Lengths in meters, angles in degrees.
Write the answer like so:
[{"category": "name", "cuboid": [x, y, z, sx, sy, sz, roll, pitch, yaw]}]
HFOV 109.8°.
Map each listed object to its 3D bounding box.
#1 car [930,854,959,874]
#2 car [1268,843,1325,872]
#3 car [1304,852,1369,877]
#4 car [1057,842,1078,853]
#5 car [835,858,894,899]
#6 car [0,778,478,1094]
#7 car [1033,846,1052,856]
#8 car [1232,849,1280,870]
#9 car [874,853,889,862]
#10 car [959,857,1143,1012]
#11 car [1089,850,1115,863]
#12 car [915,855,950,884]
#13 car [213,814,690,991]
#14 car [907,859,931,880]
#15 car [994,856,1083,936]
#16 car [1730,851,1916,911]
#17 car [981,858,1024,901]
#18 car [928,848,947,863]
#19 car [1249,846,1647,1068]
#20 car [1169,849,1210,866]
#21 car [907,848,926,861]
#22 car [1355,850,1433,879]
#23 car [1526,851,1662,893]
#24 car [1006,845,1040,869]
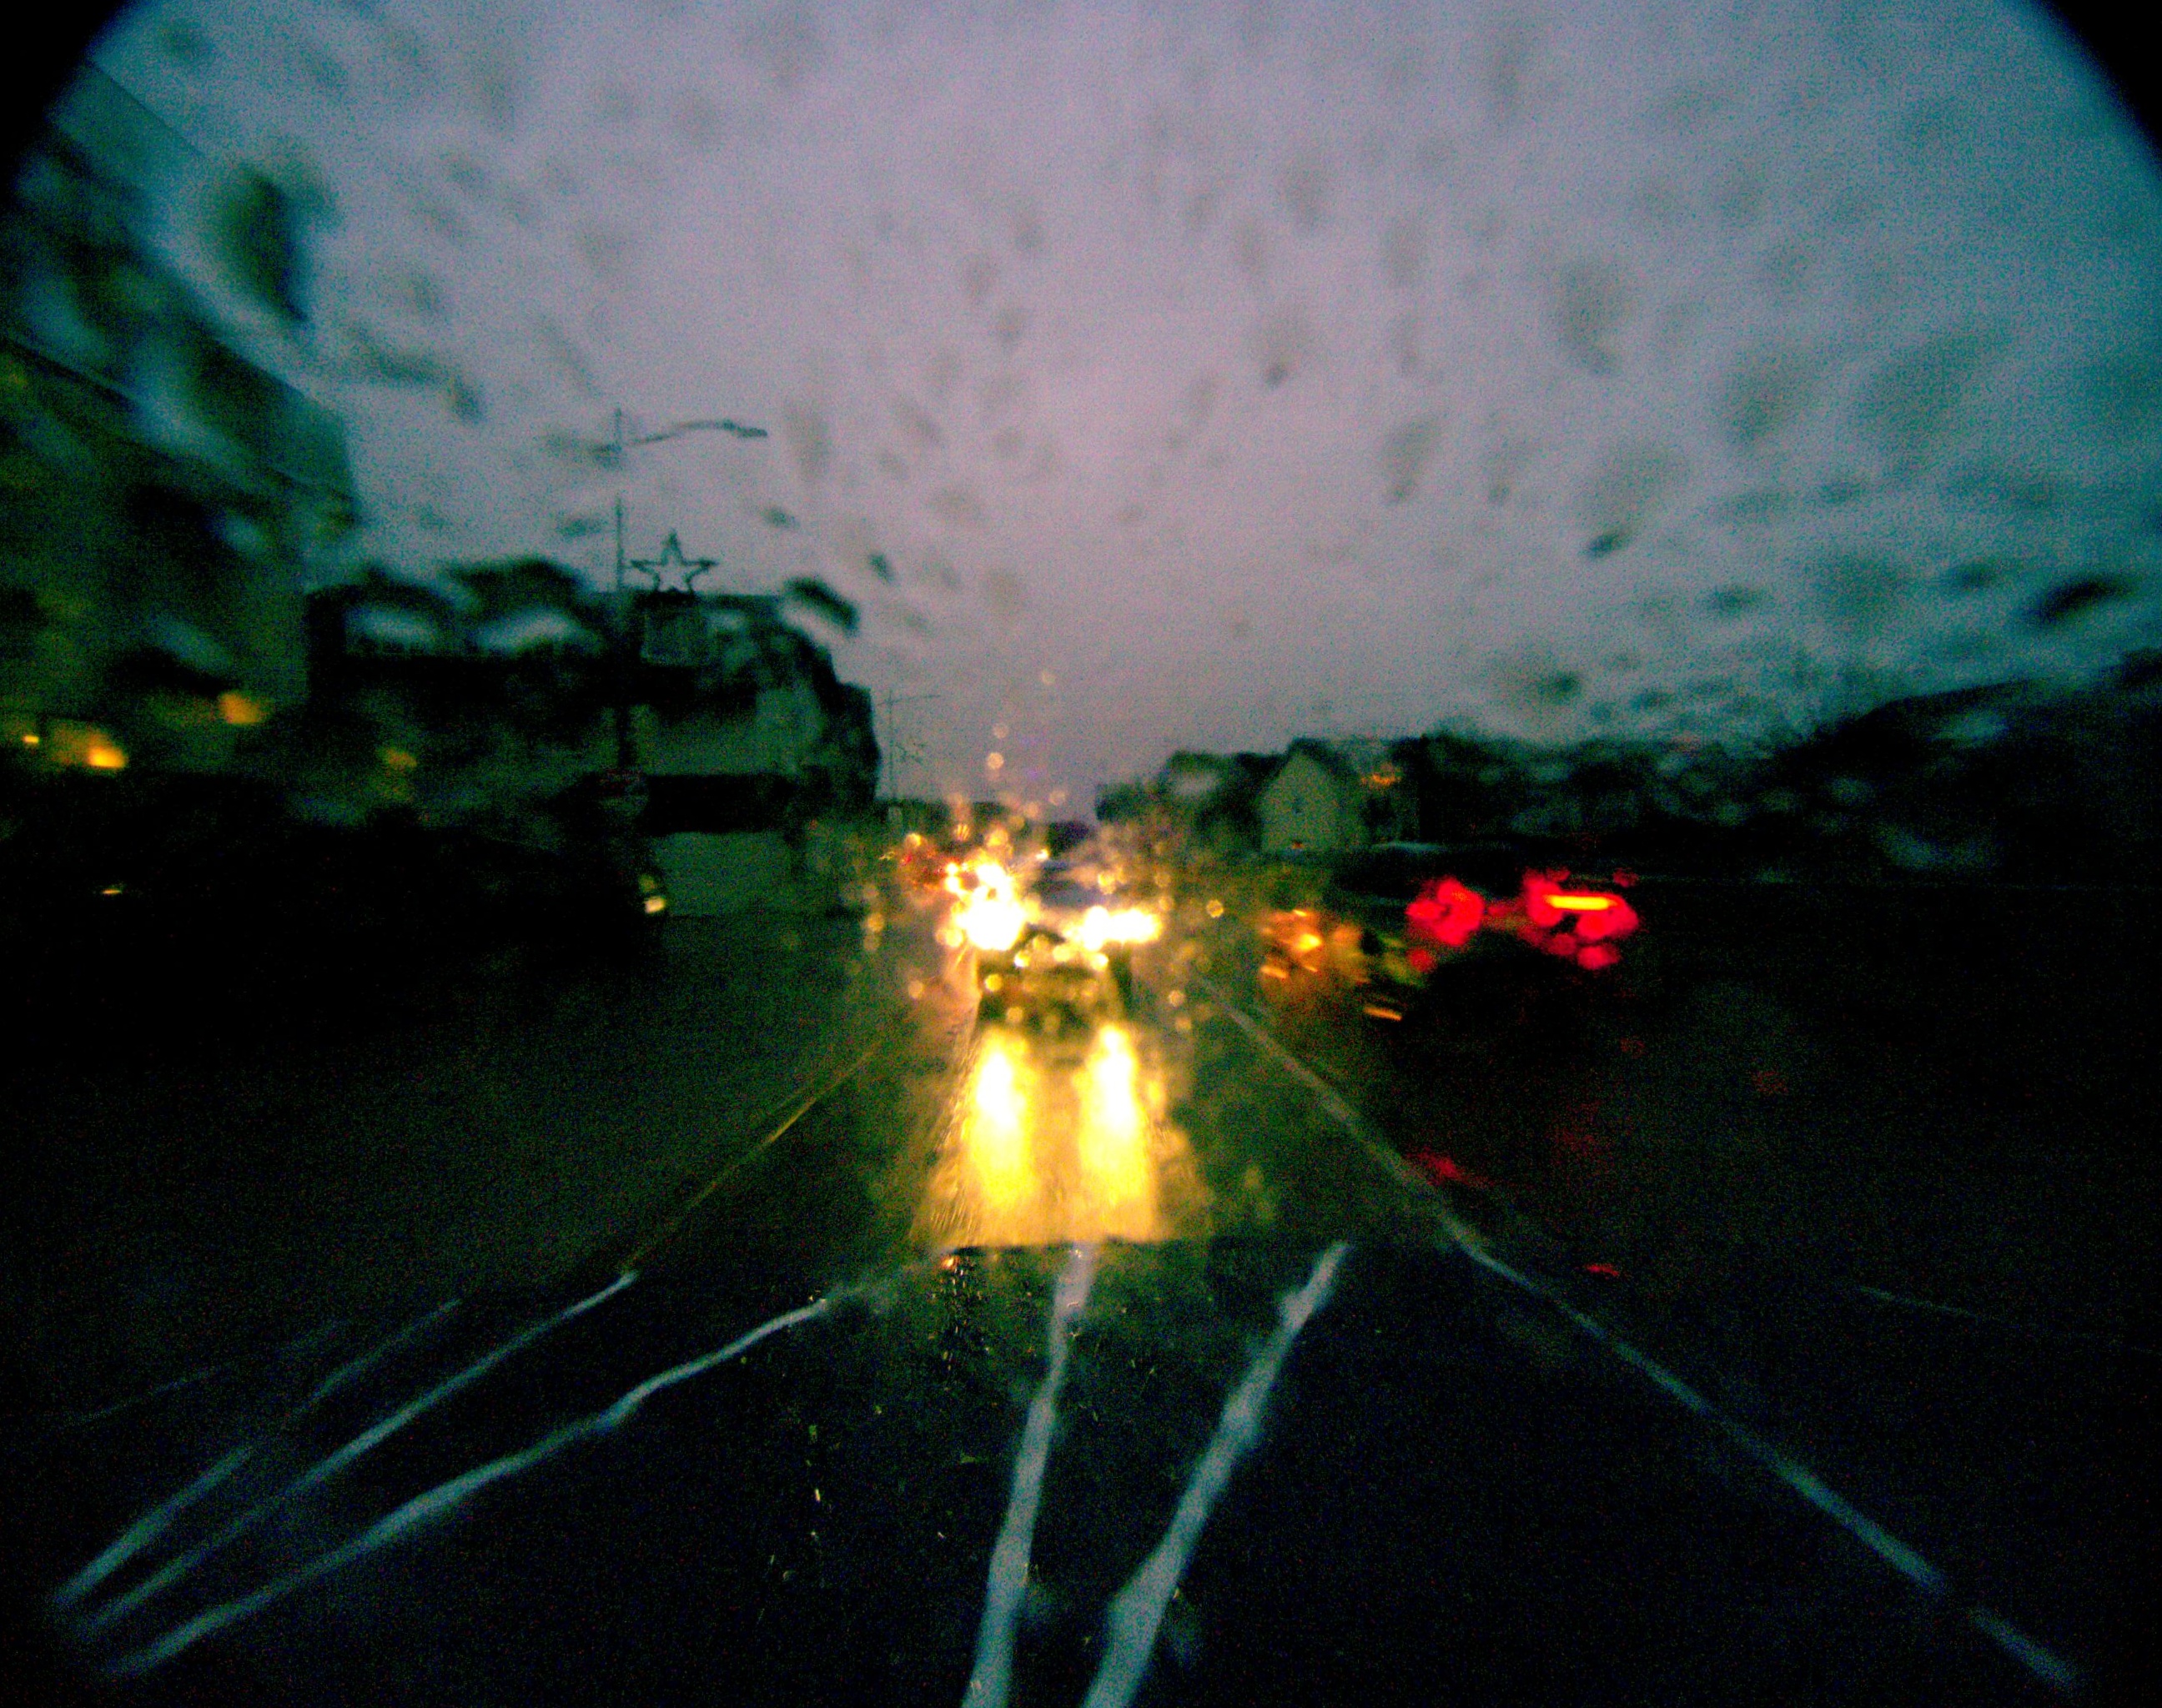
[{"category": "car", "cuboid": [-10.557, 0.747, 58.499, 1.743, 1.434, 3.994, -2, 0, -16]}, {"category": "car", "cuboid": [14.508, 0.229, 51.358, 1.801, 1.816, 4.252, -1, 0, -14]}, {"category": "car", "cuboid": [15.603, 0.605, 46.609, 1.801, 1.460, 4.252, -1, 0, -13]}, {"category": "car", "cuboid": [-1.857, -0.842, 103.251, 1.801, 1.460, 4.250, -1, 0, -17]}, {"category": "car", "cuboid": [-8.502, 0.934, 30.101, 1.778, 1.488, 3.775, 1, -1, -9]}, {"category": "car", "cuboid": [-7.744, 0.429, 5.751, 4.552, 1.922, 1.974, 4, -1, -3]}, {"category": "car", "cuboid": [-5.854, -0.452, 114.726, 1.801, 1.460, 4.250, -1, 0, -18]}, {"category": "car", "cuboid": [13.082, 0.413, 56.887, 1.677, 1.460, 4.011, 1, -1, -17]}, {"category": "car", "cuboid": [-31.451, 0.524, 119.599, 1.757, 1.408, 3.747, 1, -1, -24]}, {"category": "car", "cuboid": [-0.382, 0.866, 10.016, 1.888, 1.569, 3.999, -2, 0, -2]}, {"category": "car", "cuboid": [2.452, 0.298, 90.054, 1.801, 1.460, 4.250, -1, 0, -17]}, {"category": "car", "cuboid": [-8.619, 0.869, 43.850, 1.849, 1.577, 3.765, -1, 0, -13]}, {"category": "car", "cuboid": [-7.498, 0.592, 9.517, 4.153, 1.625, 1.753, 6, -1, -10]}, {"category": "car", "cuboid": [-10.654, 1.003, 49.978, 1.498, 1.283, 3.287, -1, 0, -13]}, {"category": "car", "cuboid": [-1.103, 0.910, 17.890, 1.682, 1.614, 3.997, -1, -1, -9]}, {"category": "car", "cuboid": [20.532, 0.686, 21.226, 1.479, 1.500, 3.500, -1, 0, -10]}, {"category": "car", "cuboid": [-3.231, 0.978, 30.777, 1.572, 1.461, 3.613, -2, 2, -7]}, {"category": "car", "cuboid": [-19.929, 0.223, 105.201, 2.002, 2.002, 3.993, -2, 1, -19]}, {"category": "car", "cuboid": [3.277, 0.787, 7.790, 1.784, 1.612, 3.955, -2, 0, -7]}, {"category": "car", "cuboid": [9.726, 0.319, 68.505, 1.801, 1.460, 4.609, -1, 0, -17]}, {"category": "car", "cuboid": [-20.199, 0.087, 93.297, 1.673, 1.513, 3.993, 1, -1, -20]}, {"category": "car", "cuboid": [16.905, 0.542, 41.291, 1.801, 1.460, 4.252, -1, 0, -13]}, {"category": "car", "cuboid": [19.462, 0.642, 29.075, 1.801, 1.460, 4.252, -1, 0, -13]}, {"category": "car", "cuboid": [-5.105, 0.266, 66.275, 2.002, 2.002, 3.993, -2, 1, -19]}]
